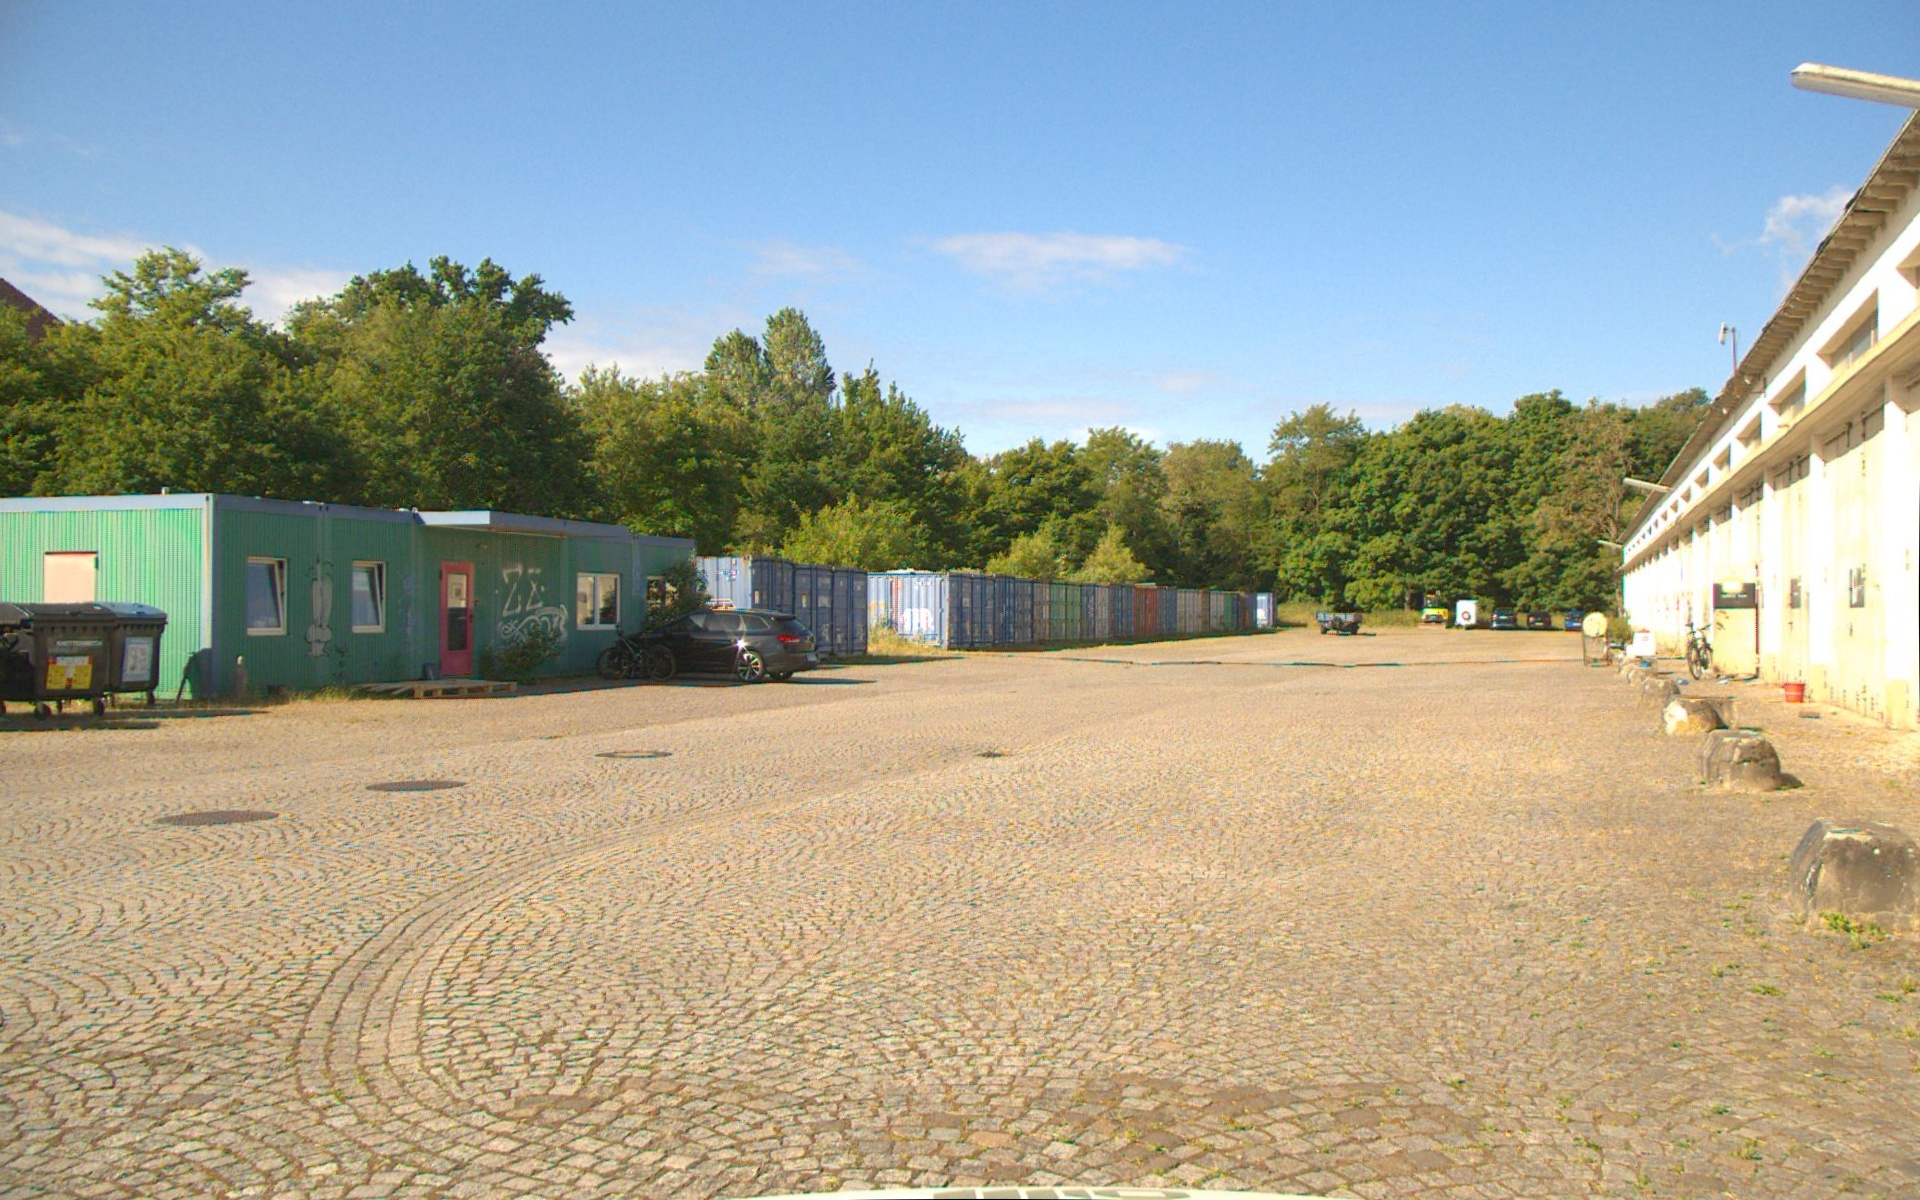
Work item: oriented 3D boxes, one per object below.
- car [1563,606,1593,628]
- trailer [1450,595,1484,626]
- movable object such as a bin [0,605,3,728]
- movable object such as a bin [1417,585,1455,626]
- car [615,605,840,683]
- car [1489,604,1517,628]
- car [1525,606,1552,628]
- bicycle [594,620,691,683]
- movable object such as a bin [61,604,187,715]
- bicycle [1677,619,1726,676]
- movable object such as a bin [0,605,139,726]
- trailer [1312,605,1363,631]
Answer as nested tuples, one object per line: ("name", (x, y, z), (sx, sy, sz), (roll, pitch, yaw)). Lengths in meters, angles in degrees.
("car", (44.847, 1.232, 119.959), (1.710, 1.461, 4.180), (1, 1, 25))
("trailer", (38.276, 0.761, 124.697), (2.148, 2.131, 5.752), (1, 1, 20))
("movable object such as a bin", (-11.829, 0.795, 19.183), (1.138, 1.483, 1.426), (1, -1, -27))
("movable object such as a bin", (36.303, 0.402, 126.091), (2.259, 2.947, 5.751), (1, 1, 21))
("car", (-4.766, 0.888, 34.038), (4.162, 1.475, 1.932), (1, -1, 18))
("car", (39.931, 1.136, 121.514), (1.825, 1.617, 4.297), (1, 1, 20))
("car", (42.335, 1.232, 120.987), (1.825, 1.496, 4.297), (1, 1, 20))
("bicycle", (-6.272, 1.014, 32.654), (1.766, 1.190, 0.668), (1, -1, 18))
("movable object such as a bin", (-11.688, 0.812, 23.176), (0.863, 1.483, 1.442), (1, -1, 9))
("bicycle", (14.846, 0.938, 33.107), (0.652, 1.087, 1.819), (0, -1, 32))
("movable object such as a bin", (-11.569, 0.821, 21.339), (0.997, 1.483, 1.441), (1, -1, 20))
("trailer", (24.760, 1.134, 108.353), (2.649, 1.491, 6.250), (1, 1, 19))
